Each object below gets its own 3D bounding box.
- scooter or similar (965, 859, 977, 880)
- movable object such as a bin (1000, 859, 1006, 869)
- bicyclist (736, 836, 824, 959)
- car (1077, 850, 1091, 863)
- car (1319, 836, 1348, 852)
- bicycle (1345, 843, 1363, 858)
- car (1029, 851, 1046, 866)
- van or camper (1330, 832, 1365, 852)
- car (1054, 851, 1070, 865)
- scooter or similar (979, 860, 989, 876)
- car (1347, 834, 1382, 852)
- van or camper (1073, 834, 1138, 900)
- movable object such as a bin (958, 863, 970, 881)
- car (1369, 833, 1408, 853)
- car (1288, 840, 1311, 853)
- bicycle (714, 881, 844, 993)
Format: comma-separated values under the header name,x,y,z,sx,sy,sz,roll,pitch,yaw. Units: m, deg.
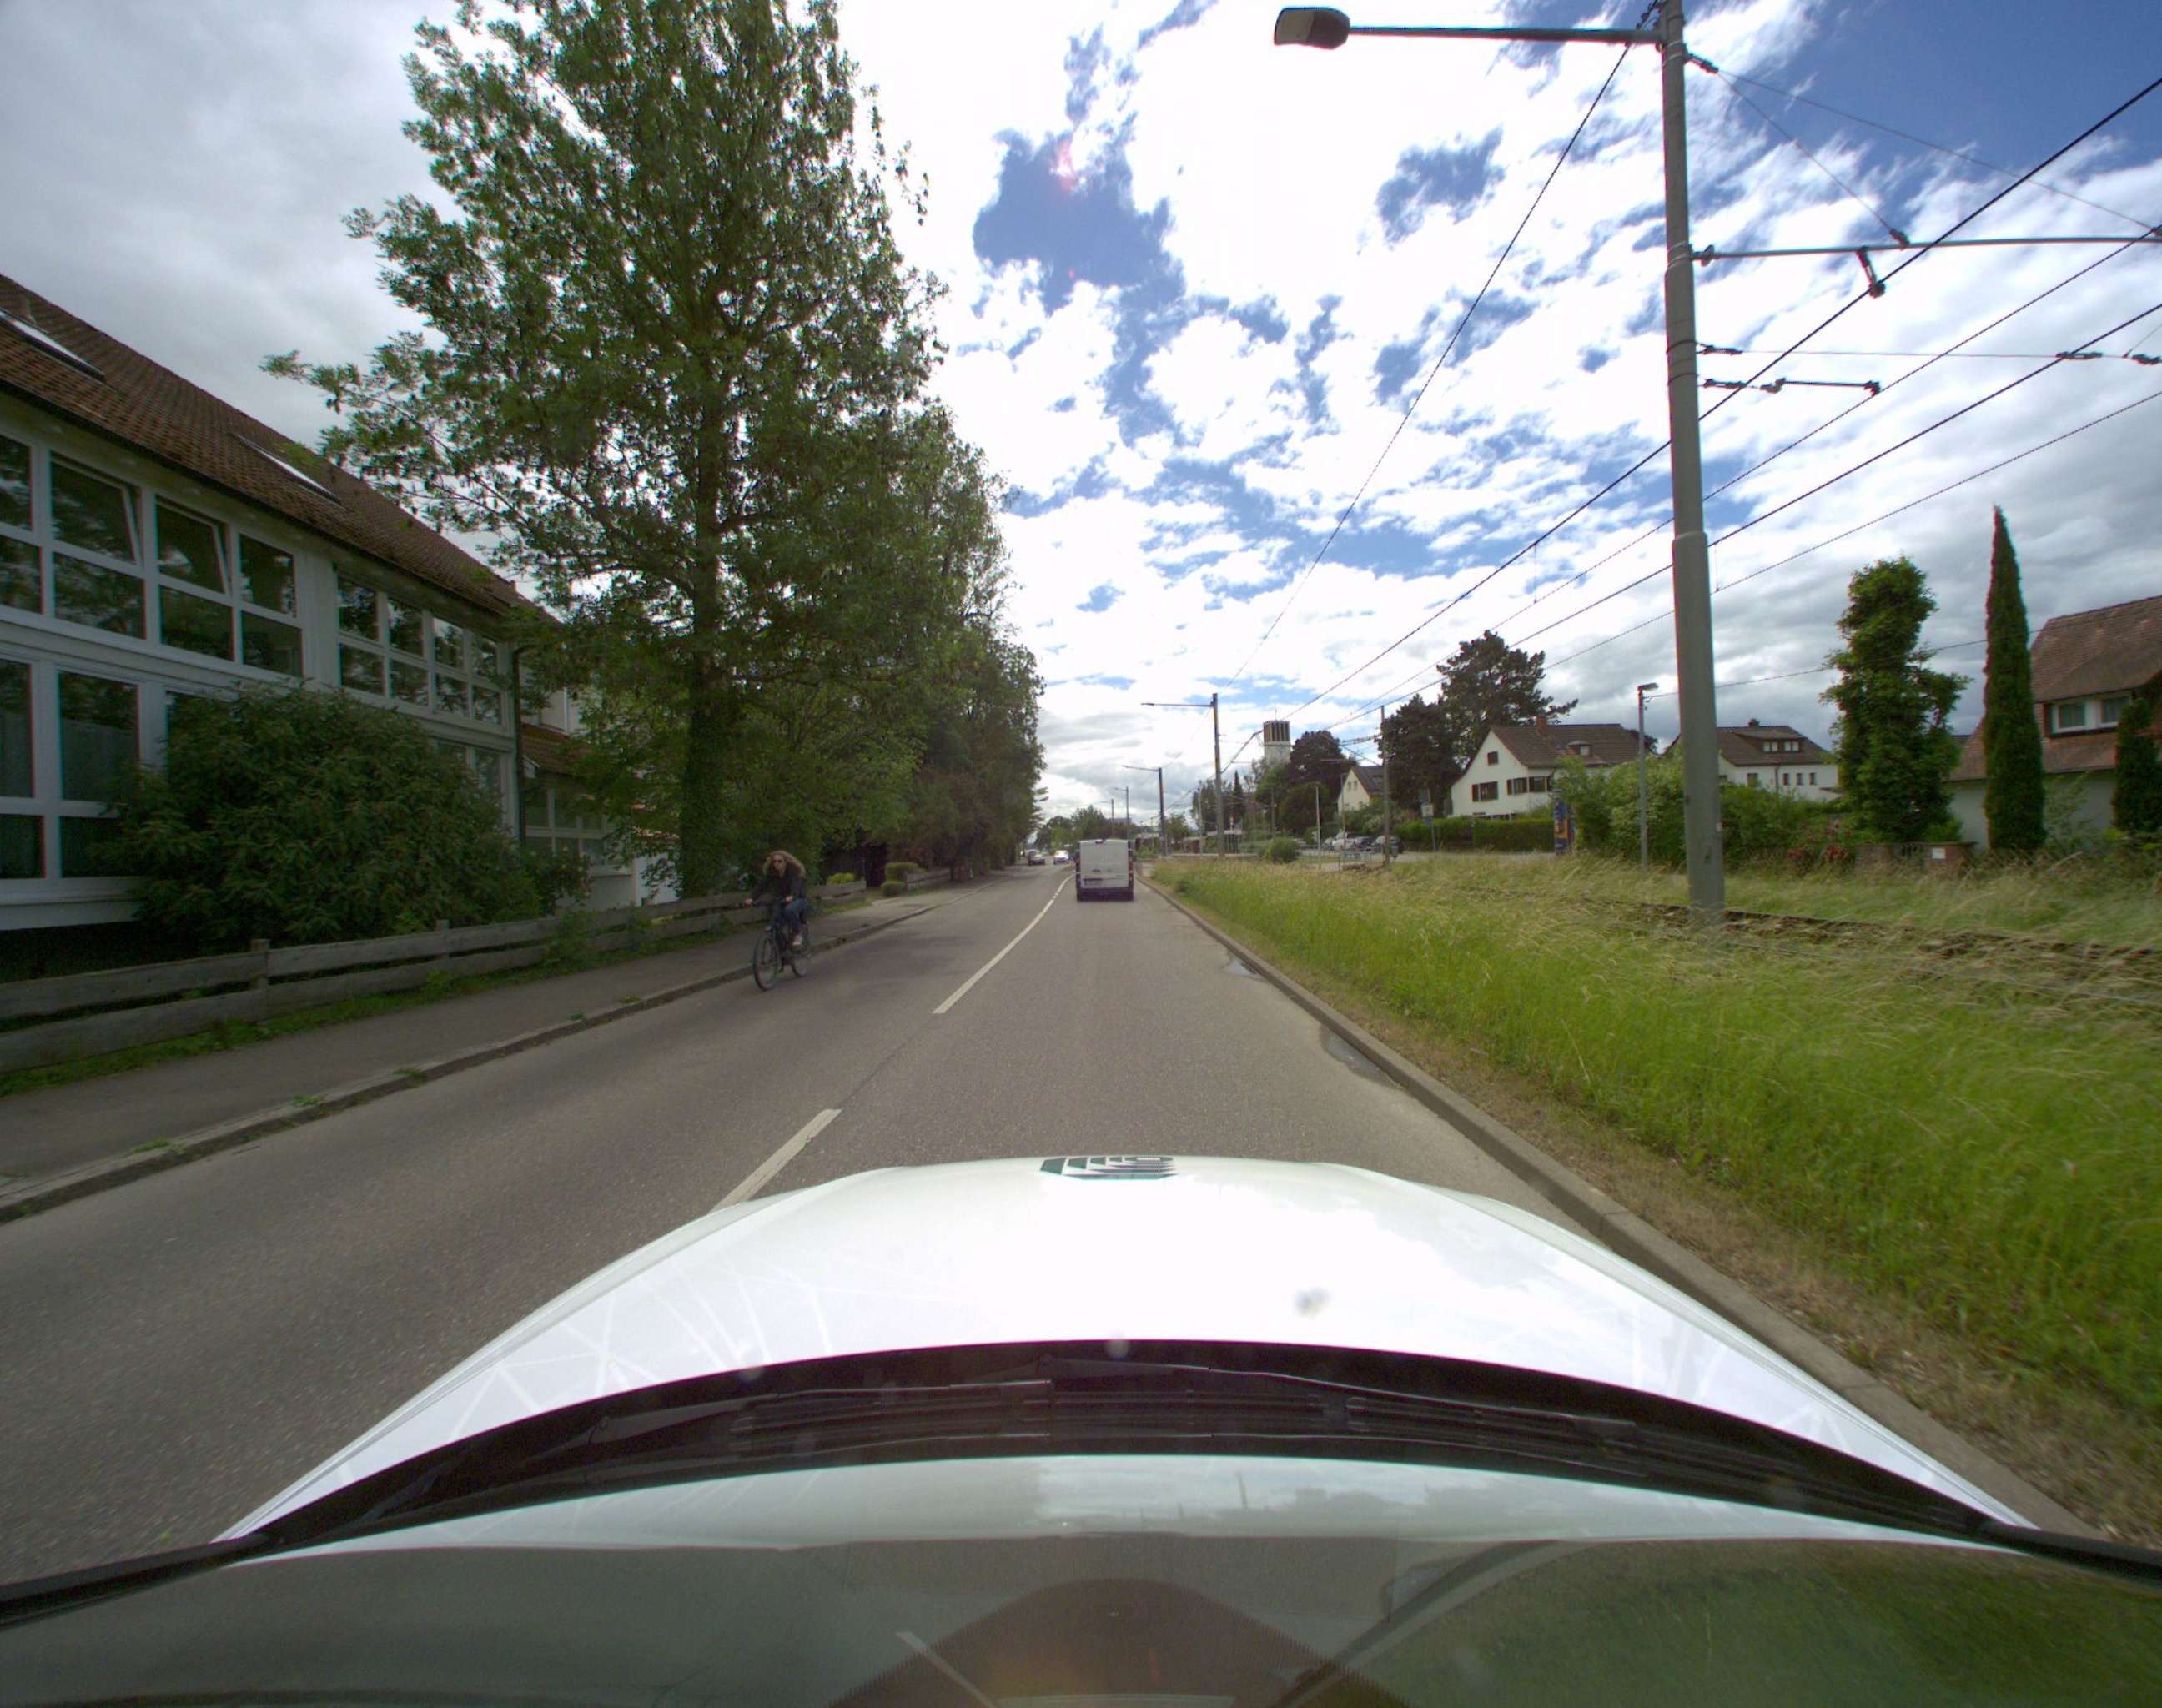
name,x,y,z,sx,sy,sz,roll,pitch,yaw
scooter or similar,-6.642,0.914,49.157,0.407,1.199,1.640,-2,0,3
movable object such as a bin,-6.793,0.879,71.119,0.463,0.930,0.428,2,-1,-16
bicyclist,-4.029,0.561,10.946,0.775,1.549,0.870,-2,0,1
car,0.408,0.312,107.530,1.846,1.648,3.734,-2,0,0
car,25.949,-1.021,83.903,1.876,1.522,4.003,-2,0,3
bicycle,19.436,-0.231,57.956,0.536,1.045,2.542,-2,0,3
car,-4.846,0.490,90.448,1.734,1.504,4.471,-4,0,-4
van or camper,25.600,-1.125,78.418,1.897,1.826,5.051,-2,0,3
car,-2.100,0.404,89.706,1.689,1.430,3.784,-4,0,-2
scooter or similar,-6.861,0.957,57.404,0.478,1.081,1.207,-1,0,-17
car,25.494,-0.950,73.328,1.876,1.522,4.003,-2,0,3
van or camper,0.858,0.421,27.560,1.986,2.014,4.448,-1,0,2
movable object such as a bin,-6.279,0.957,43.663,0.511,0.945,0.569,-1,0,1
car,25.311,-0.879,67.186,1.876,1.522,4.003,-2,0,3
car,26.789,-0.882,99.906,1.876,1.522,4.003,-2,0,3
bicycle,-3.989,1.045,11.012,0.752,1.226,2.309,-4,0,2
